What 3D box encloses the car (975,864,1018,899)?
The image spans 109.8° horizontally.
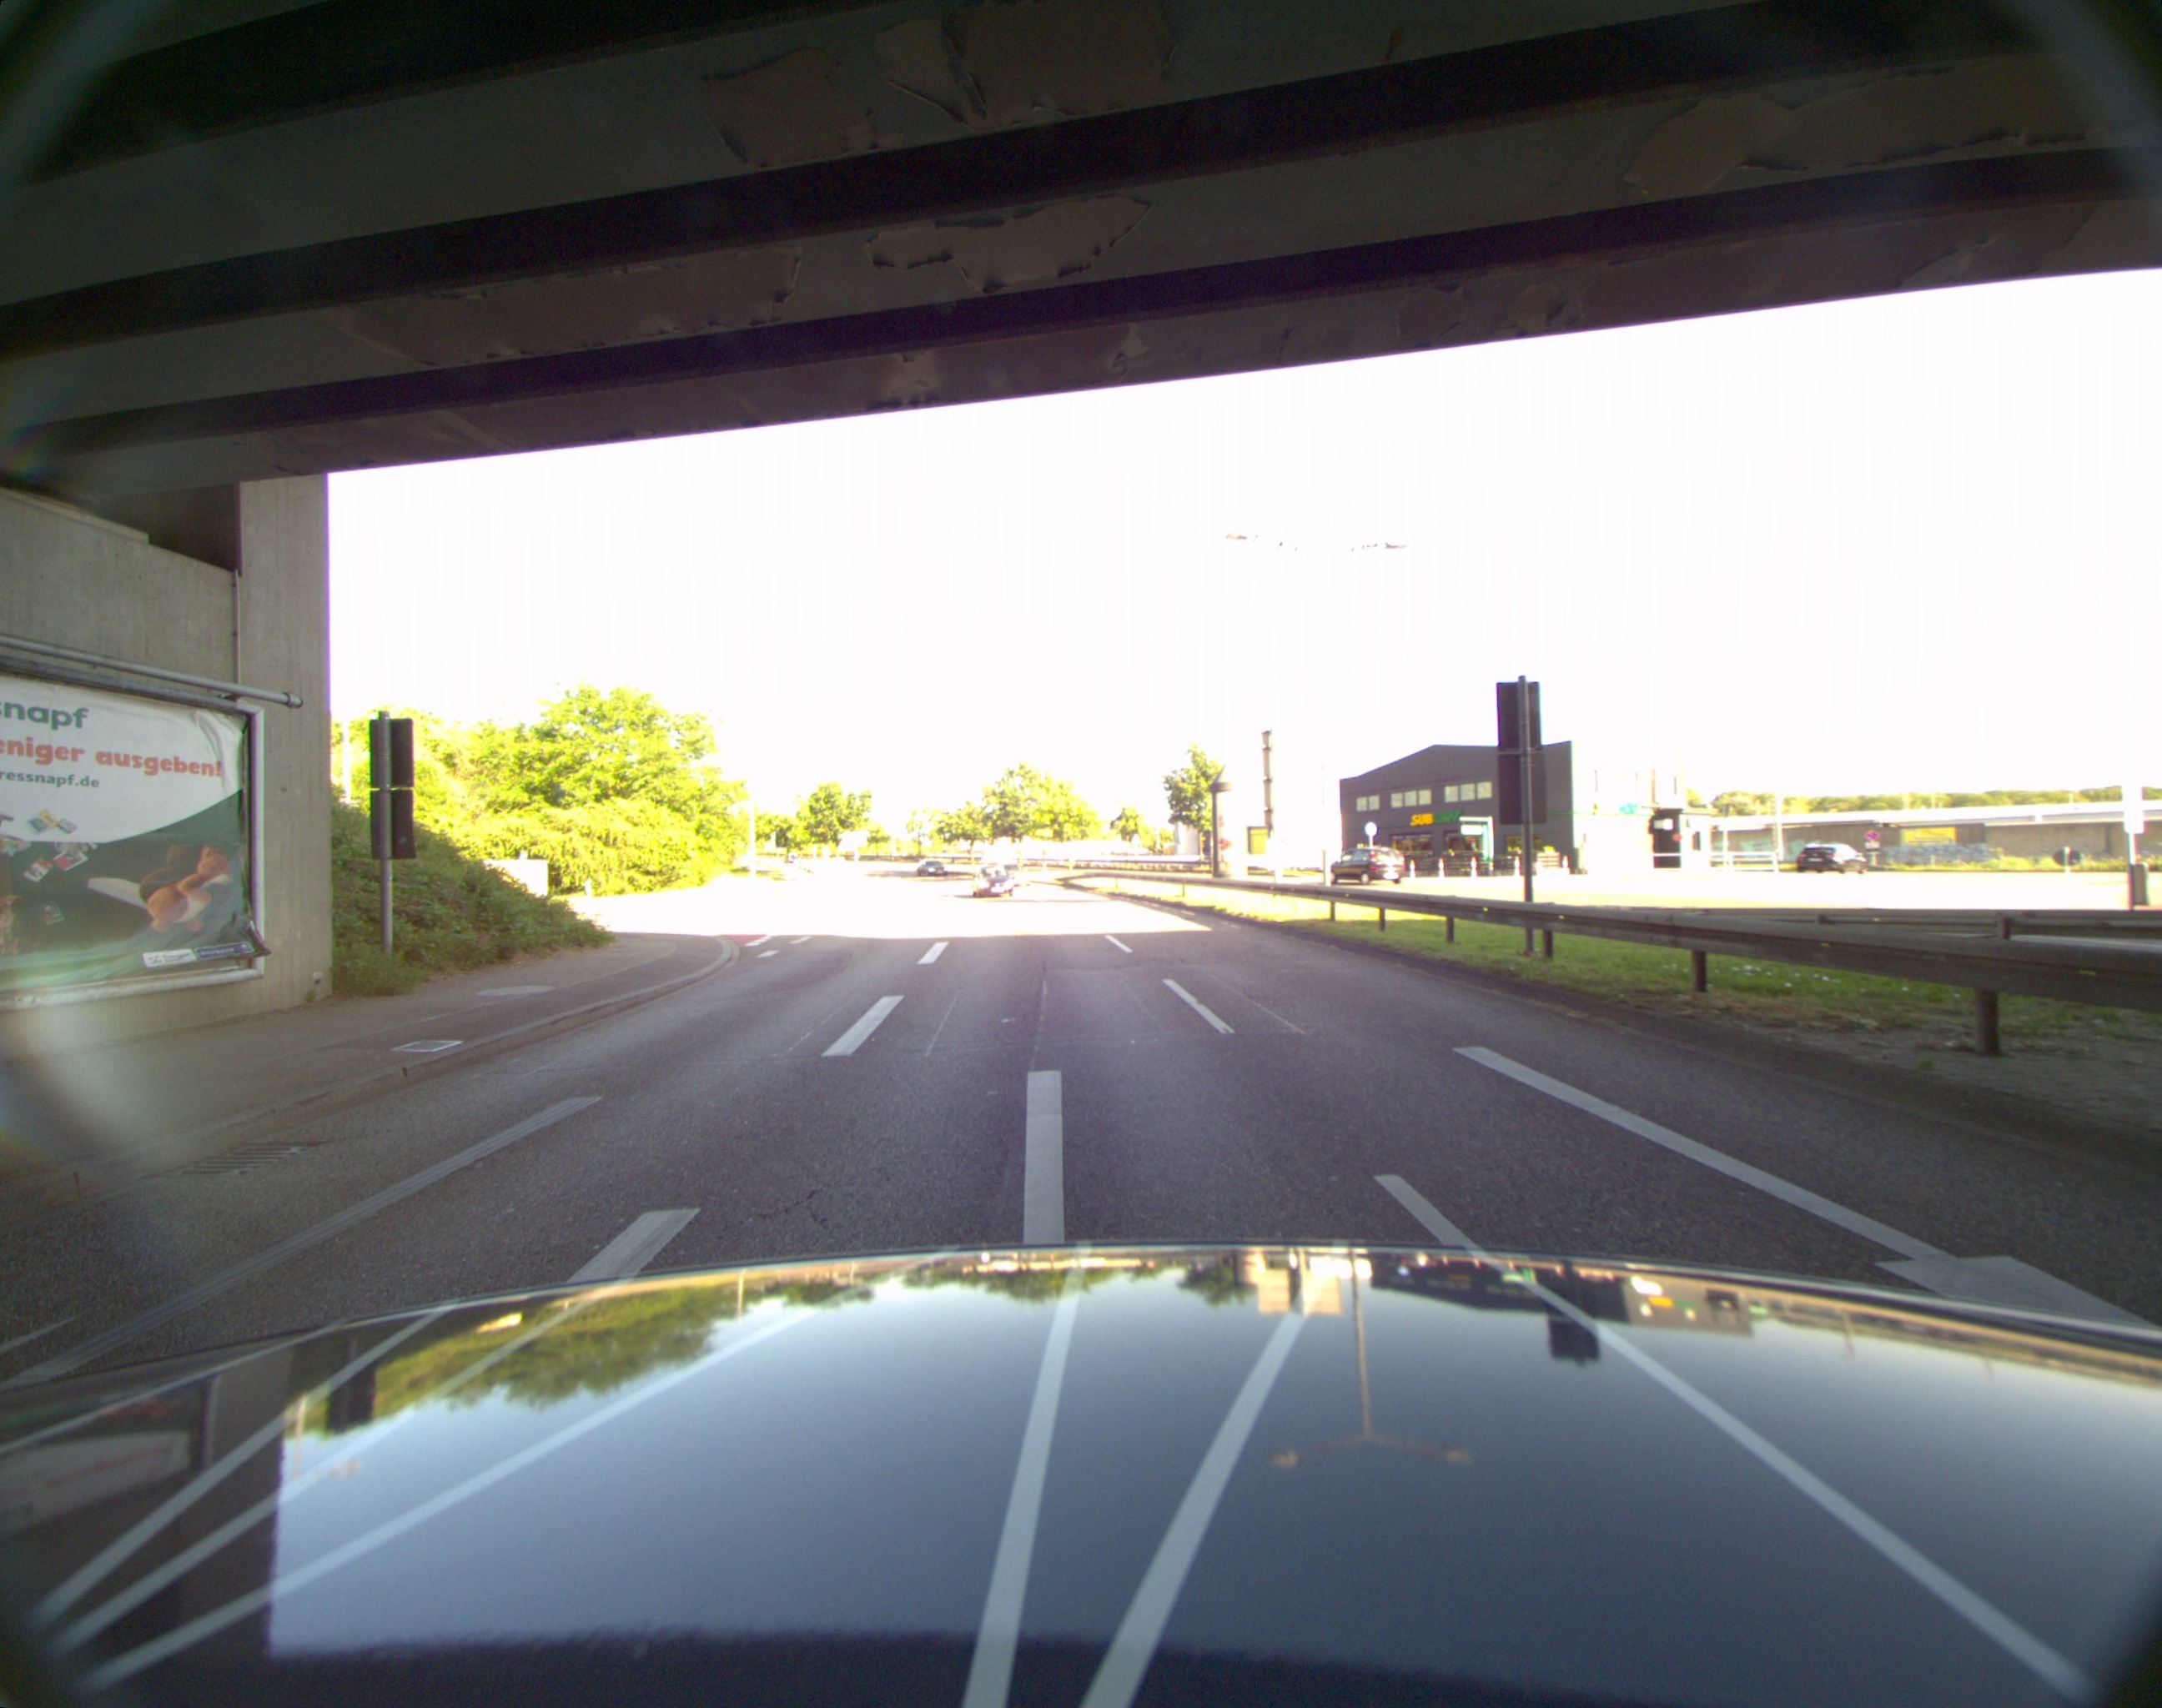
[{"bbox_3d":[-4.023,1.234,35.682,1.739,1.412,4.315,-2,0,-10],"label":"car"}]

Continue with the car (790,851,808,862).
[{"bbox_3d":[-40.999,0.426,110.380,1.853,1.473,3.973,-1,-2,-31],"label":"car"}]

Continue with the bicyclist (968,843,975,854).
[{"bbox_3d":[-14.654,-0.741,102.063,0.594,1.419,0.707,-3,1,-37],"label":"bicyclist"}]

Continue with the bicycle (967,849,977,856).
[{"bbox_3d":[-14.678,-0.194,102.176,0.594,1.017,1.746,-3,1,-37],"label":"bicycle"}]

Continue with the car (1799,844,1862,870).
[{"bbox_3d":[38.434,0.176,38.954,4.191,1.274,1.825,1,0,-39],"label":"car"}]

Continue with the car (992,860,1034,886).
[{"bbox_3d":[-4.069,1.078,45.071,1.850,1.412,3.976,-1,1,-14],"label":"car"}]

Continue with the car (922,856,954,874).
[{"bbox_3d":[-12.913,0.988,68.272,1.859,1.471,4.221,-2,0,-24],"label":"car"}]

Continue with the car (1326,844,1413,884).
[{"bbox_3d":[12.504,0.432,33.235,1.830,1.578,4.180,-1,0,-7],"label":"car"}]
